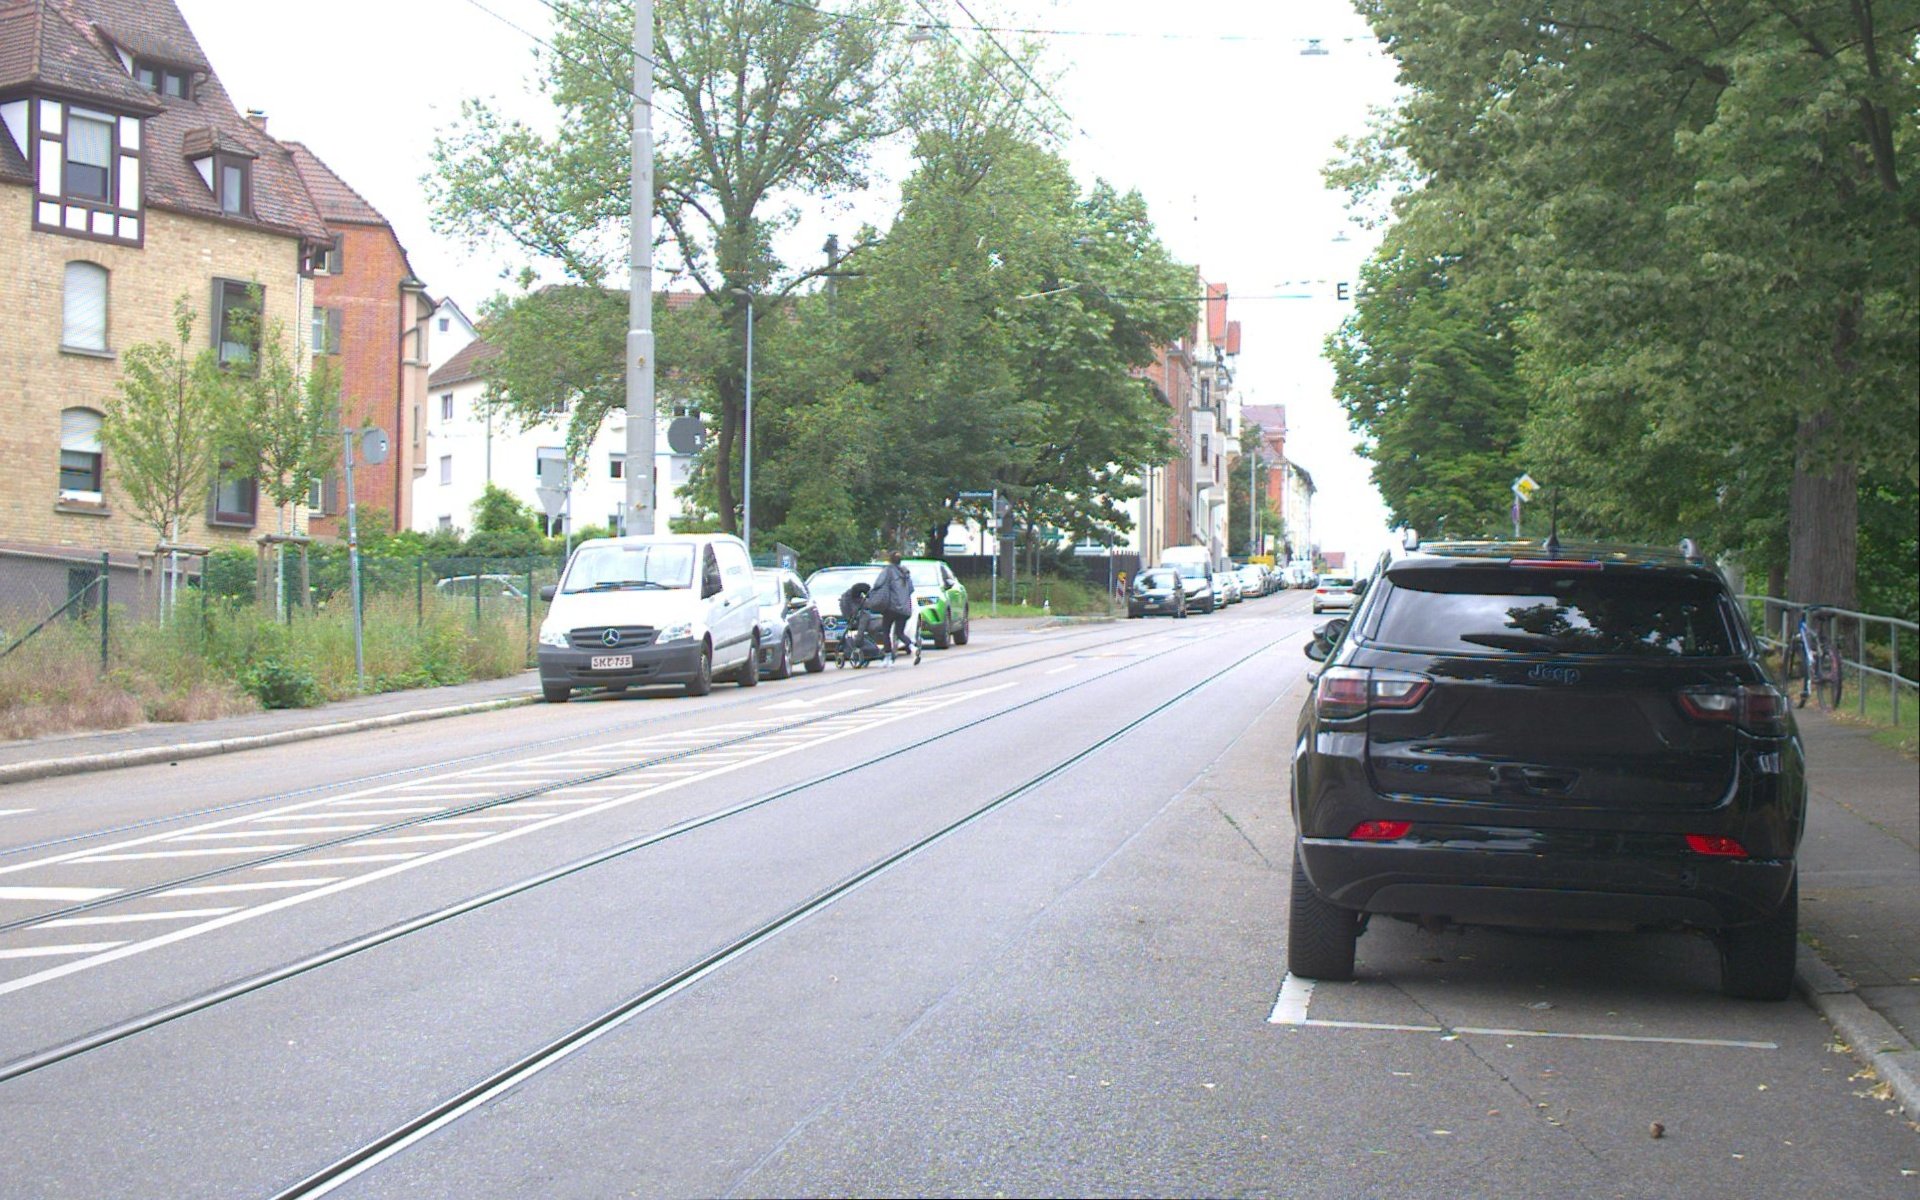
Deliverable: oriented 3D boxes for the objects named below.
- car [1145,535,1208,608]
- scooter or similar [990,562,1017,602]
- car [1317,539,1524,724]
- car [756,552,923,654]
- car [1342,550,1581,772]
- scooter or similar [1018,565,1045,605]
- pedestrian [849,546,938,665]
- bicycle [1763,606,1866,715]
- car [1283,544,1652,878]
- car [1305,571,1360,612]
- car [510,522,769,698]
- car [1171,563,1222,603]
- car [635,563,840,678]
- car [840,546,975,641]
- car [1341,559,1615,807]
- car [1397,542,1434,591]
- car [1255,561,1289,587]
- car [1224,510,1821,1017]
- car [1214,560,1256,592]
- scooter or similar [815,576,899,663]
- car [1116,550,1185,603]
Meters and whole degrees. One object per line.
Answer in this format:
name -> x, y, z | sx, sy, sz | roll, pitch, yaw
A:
car -> 8.481, -1.088, 134.421 | 2.231, 2.755, 5.798 | 1, 0, 5
scooter or similar -> 1.475, -0.596, 115.911 | 0.691, 1.334, 1.638 | 1, 0, 9
car -> 4.707, 0.266, 35.074 | 1.878, 1.672, 5.061 | 3, 1, 8
car -> -1.850, 0.042, 54.356 | 1.885, 1.521, 4.662 | -1, 0, 7
car -> 4.167, 0.451, 29.068 | 1.726, 1.626, 4.087 | 4, 1, 6
scooter or similar -> 2.410, -0.498, 115.715 | 0.691, 1.334, 1.638 | 1, 0, 9
pedestrian -> -0.922, 0.074, 47.528 | 0.805, 1.623, 0.916 | 1, 0, -40
bicycle -> 7.917, 0.546, 31.900 | 0.427, 0.972, 1.795 | 1, 0, -2
car -> 2.713, 0.514, 18.725 | 1.734, 1.570, 4.363 | 1, 1, 7
car -> 14.033, -0.302, 129.362 | 1.994, 1.493, 4.311 | 1, 0, 7
car -> -3.680, 0.123, 40.420 | 2.036, 1.875, 4.884 | -2, 0, 6
car -> 9.974, -0.710, 144.626 | 1.994, 1.595, 4.311 | 1, 0, 5
car -> -2.921, 0.235, 46.165 | 1.897, 1.428, 4.510 | -1, 1, 7
car -> -0.883, -0.125, 59.956 | 1.724, 1.574, 4.179 | -1, 0, 8
car -> 3.562, 0.510, 24.217 | 1.630, 1.511, 4.063 | 3, 1, 6
car -> 24.652, -1.785, 185.948 | 1.994, 2.565, 4.703 | 0, 0, 8
car -> 19.718, -1.620, 216.998 | 1.994, 1.596, 3.999 | 1, 0, 7
car -> 2.200, 0.509, 13.665 | 1.905, 1.609, 4.598 | 2, 1, 9
car -> 14.231, -1.236, 177.866 | 1.924, 1.596, 3.999 | 1, 0, 8
scooter or similar -> -1.443, 0.275, 48.232 | 0.805, 1.192, 0.839 | 1, 0, -40
car -> 6.679, -0.806, 120.080 | 1.994, 1.802, 3.998 | 1, 0, 9
